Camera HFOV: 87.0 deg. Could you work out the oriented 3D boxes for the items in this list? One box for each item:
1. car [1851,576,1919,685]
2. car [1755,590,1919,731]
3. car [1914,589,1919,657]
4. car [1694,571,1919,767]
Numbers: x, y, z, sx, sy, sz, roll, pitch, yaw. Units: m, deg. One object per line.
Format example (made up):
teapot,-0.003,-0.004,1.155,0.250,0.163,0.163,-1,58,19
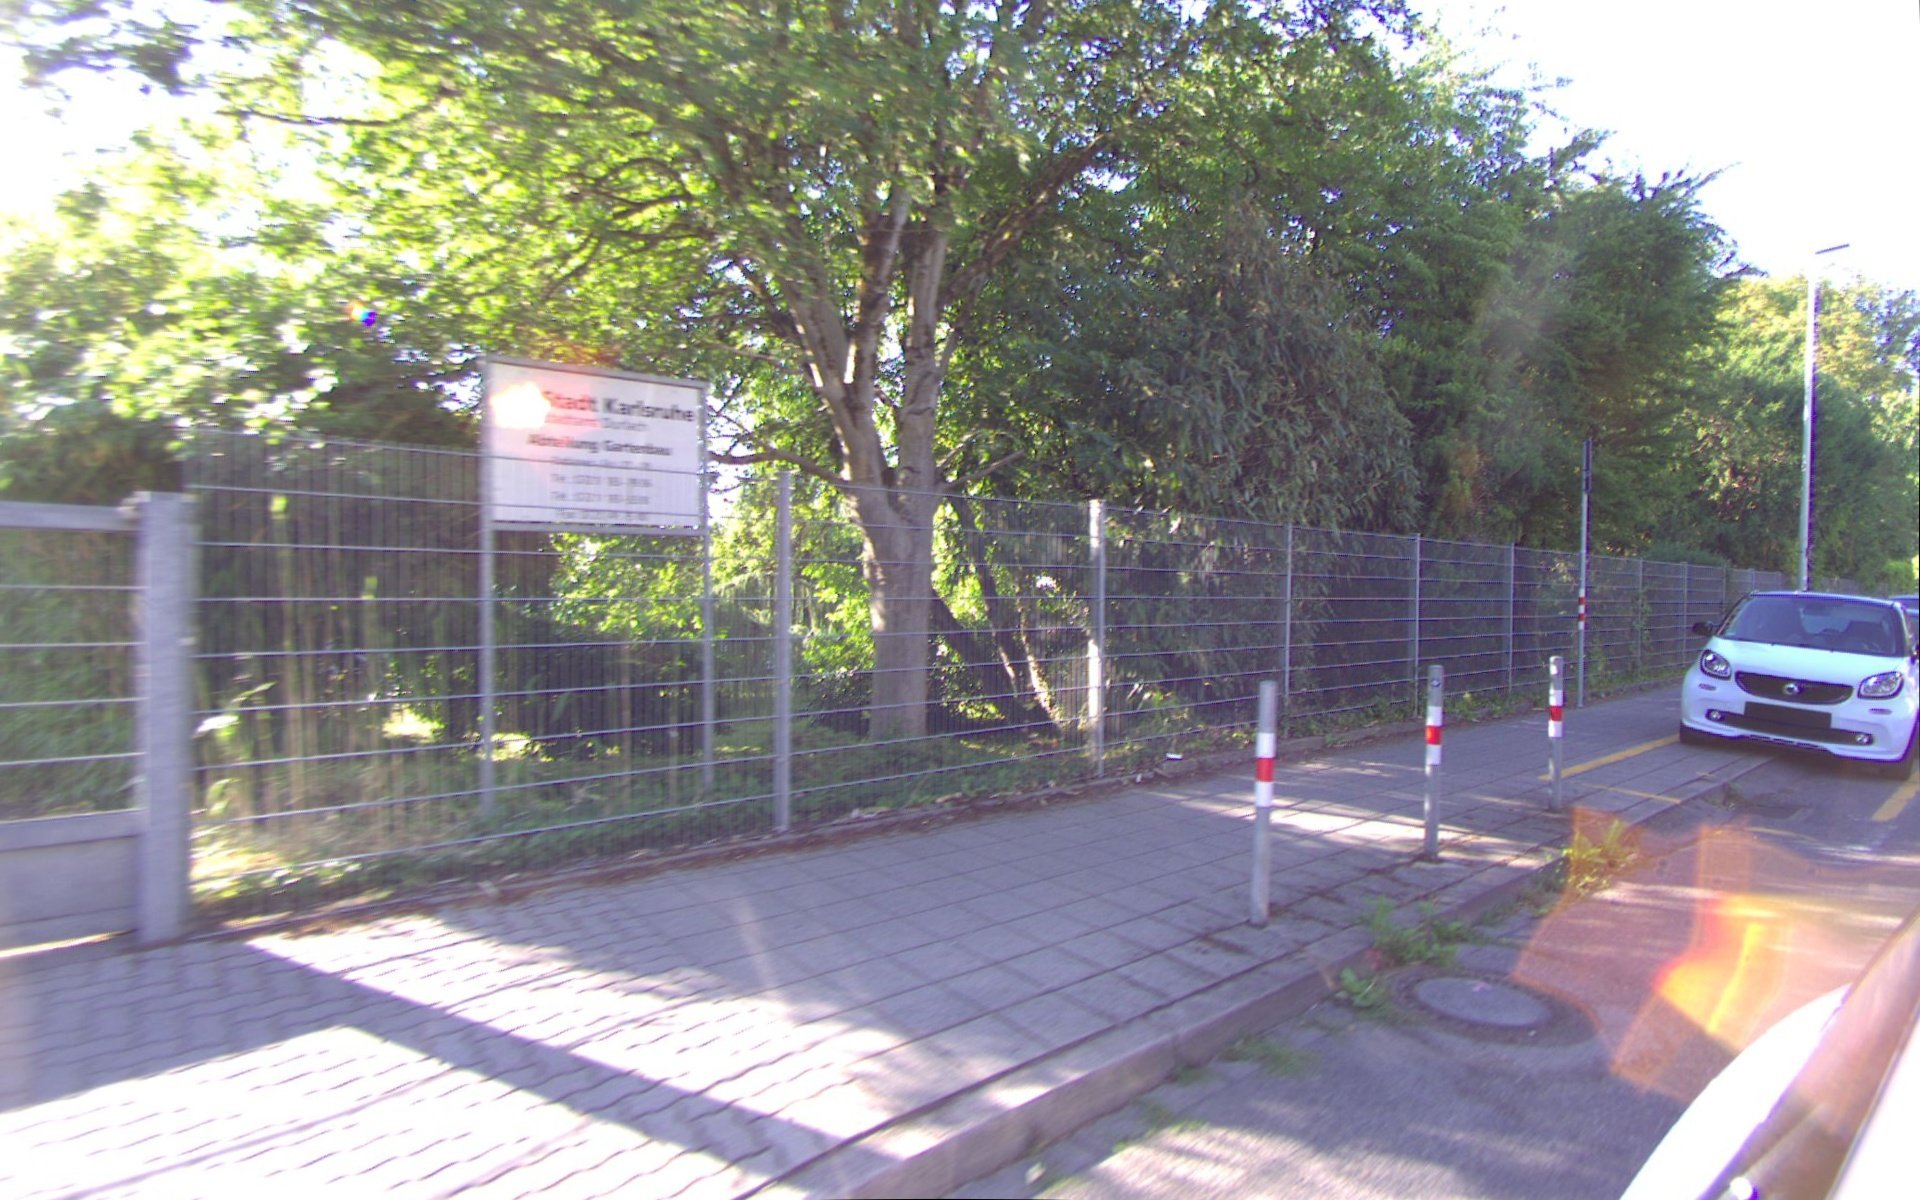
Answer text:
car,15.741,0.487,16.184,2.820,1.582,1.658,-1,6,-39
car,11.853,0.650,12.858,4.727,1.517,1.714,0,-1,-39
car,22.603,0.517,22.394,3.930,1.458,1.797,0,2,-41
car,8.354,0.558,9.701,2.856,1.528,1.626,1,3,-45
